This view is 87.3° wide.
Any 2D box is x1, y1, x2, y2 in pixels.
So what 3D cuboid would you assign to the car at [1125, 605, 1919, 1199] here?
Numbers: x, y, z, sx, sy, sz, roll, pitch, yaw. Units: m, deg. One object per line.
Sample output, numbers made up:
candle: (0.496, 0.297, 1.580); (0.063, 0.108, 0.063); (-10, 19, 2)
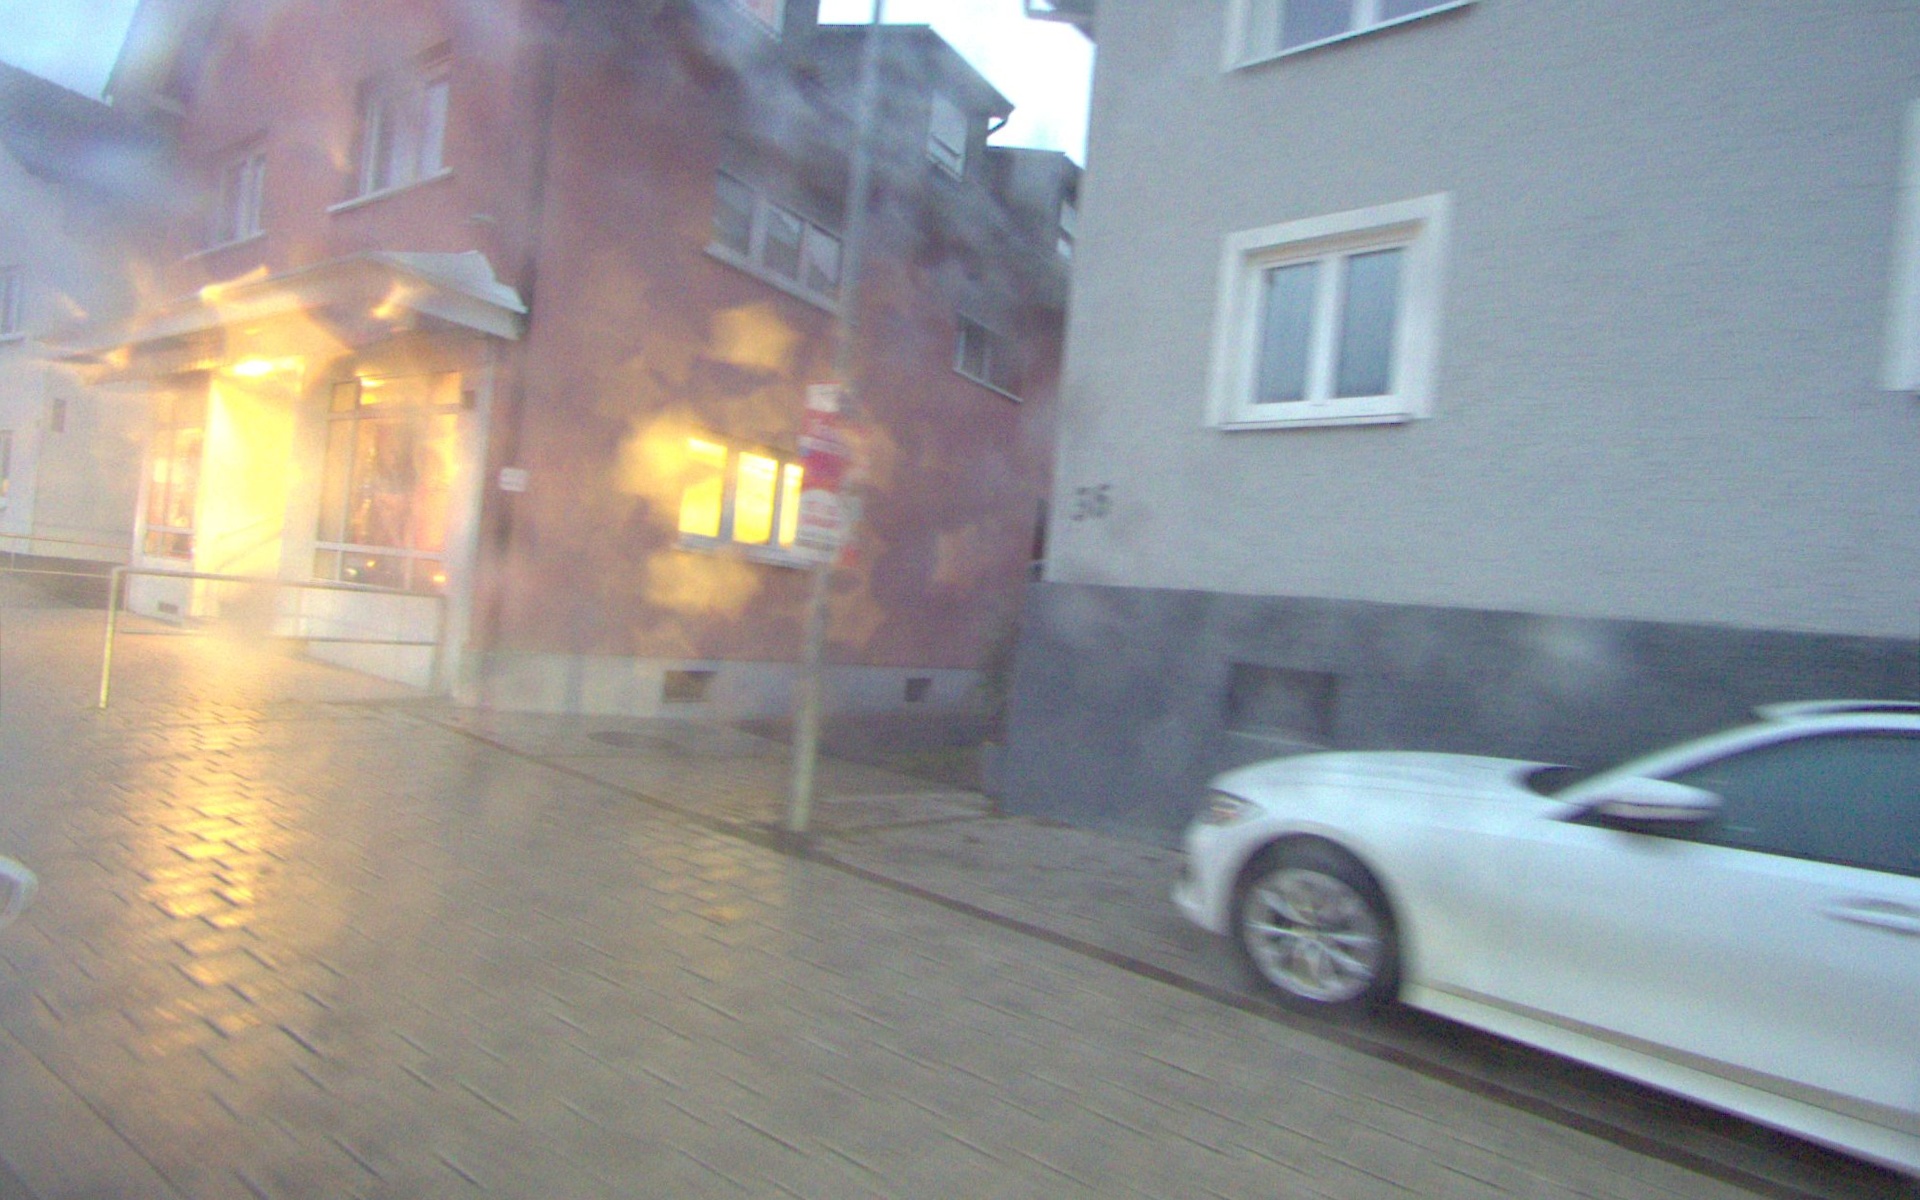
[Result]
car: (3.046, 1.019, 3.454); (4.479, 1.485, 1.880); (7, 1, 41)
